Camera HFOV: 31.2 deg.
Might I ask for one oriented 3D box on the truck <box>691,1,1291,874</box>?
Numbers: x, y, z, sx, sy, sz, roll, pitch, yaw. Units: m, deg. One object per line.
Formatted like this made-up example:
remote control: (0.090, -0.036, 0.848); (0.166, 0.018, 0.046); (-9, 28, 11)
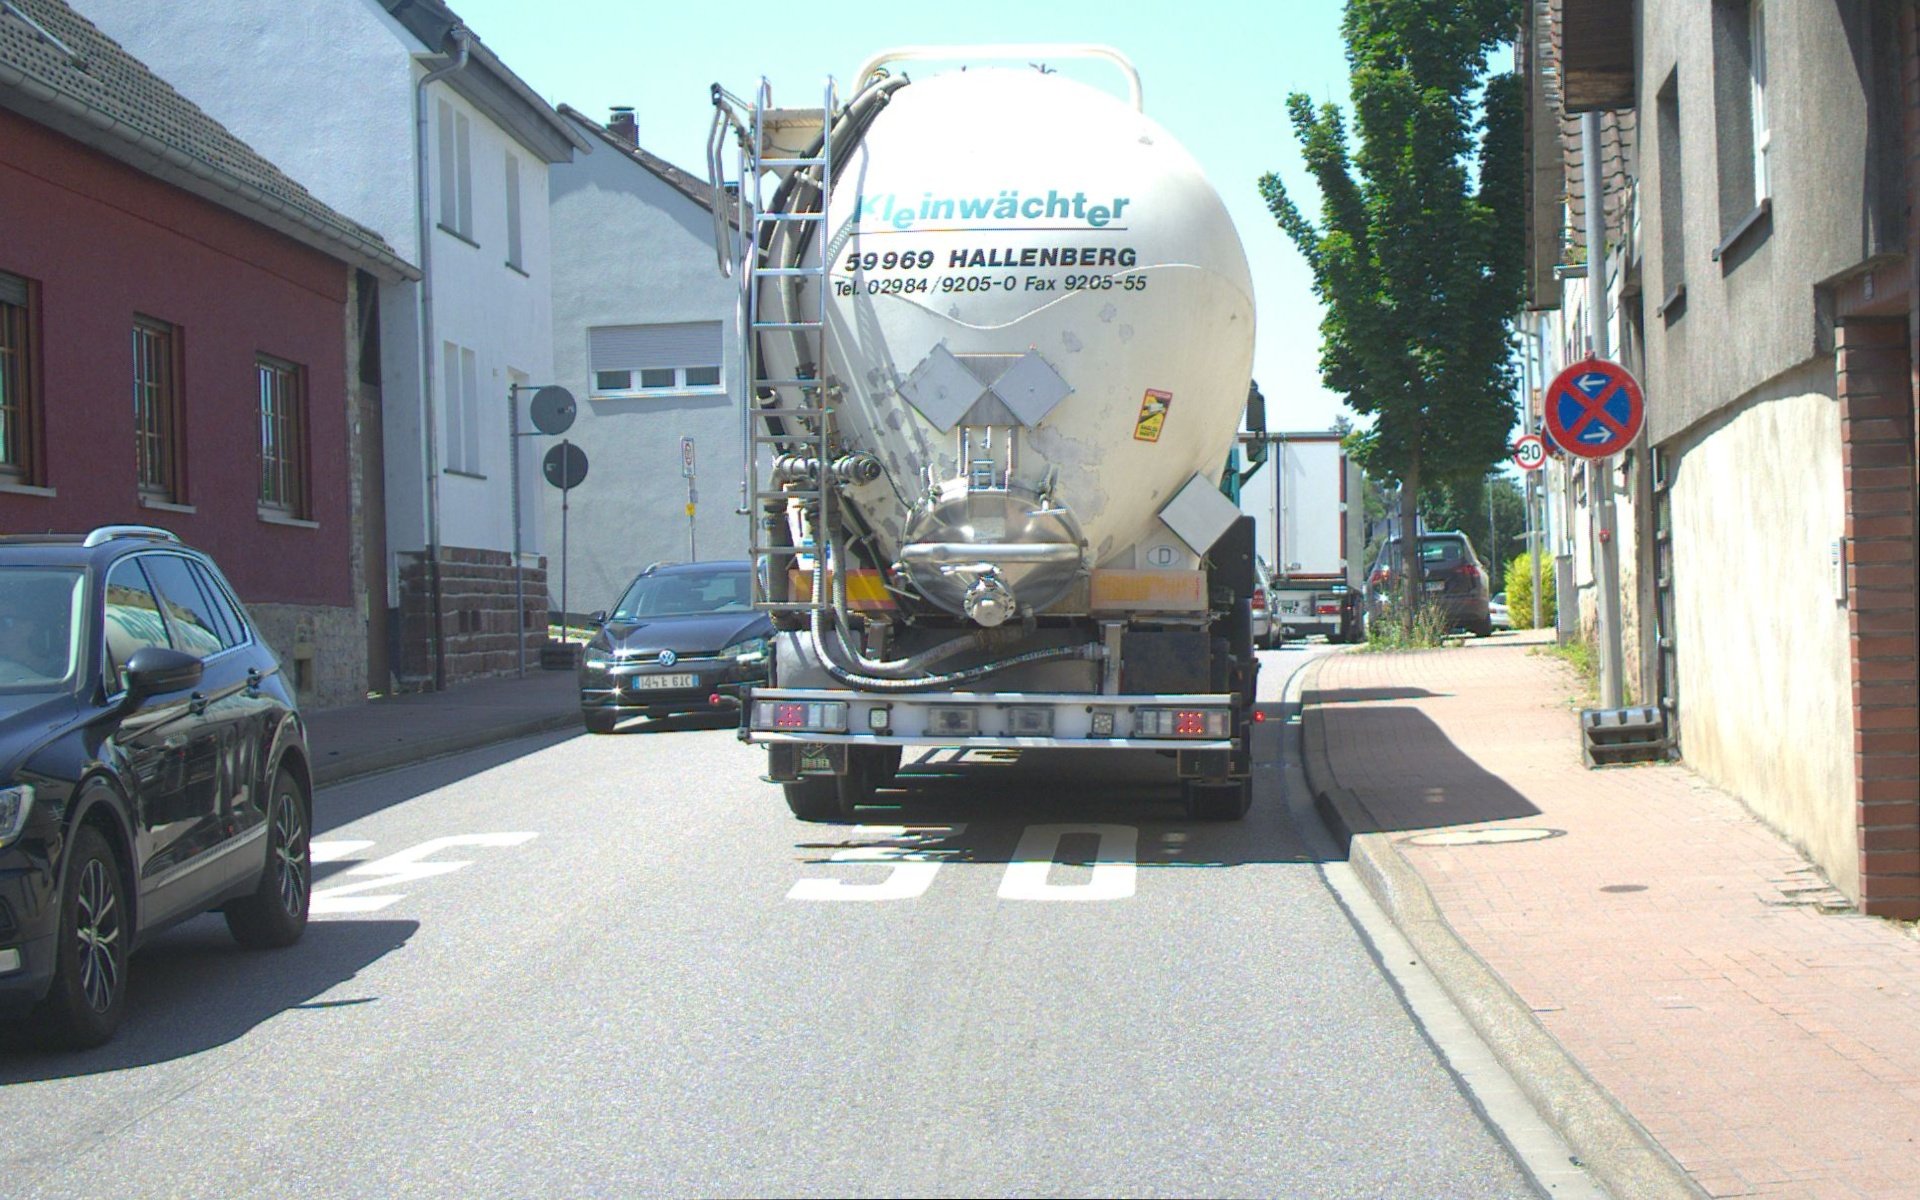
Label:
truck: (0.459, -0.805, 19.718); (2.733, 3.946, 8.140); (0, 1, 5)

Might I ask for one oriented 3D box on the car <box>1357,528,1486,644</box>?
car: (7.157, -0.218, 53.011); (1.803, 1.608, 4.546); (-3, 0, 9)

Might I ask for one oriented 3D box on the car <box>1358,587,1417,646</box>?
car: (15.129, 0.588, 121.735); (1.946, 1.964, 4.783); (-2, -1, 7)

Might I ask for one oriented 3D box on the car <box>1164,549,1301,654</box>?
car: (4.266, 0.048, 53.295); (1.701, 1.442, 4.834); (-4, -1, 8)

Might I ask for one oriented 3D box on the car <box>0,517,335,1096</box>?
car: (-3.510, 0.581, 11.682); (1.811, 1.603, 4.337); (-3, 1, 1)

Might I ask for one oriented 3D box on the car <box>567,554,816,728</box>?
car: (-2.360, 0.319, 31.175); (1.695, 1.405, 4.200); (-2, 1, 3)

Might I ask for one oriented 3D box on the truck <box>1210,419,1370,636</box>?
truck: (6.774, -1.464, 69.571); (2.964, 4.055, 9.281); (-1, 1, 7)
